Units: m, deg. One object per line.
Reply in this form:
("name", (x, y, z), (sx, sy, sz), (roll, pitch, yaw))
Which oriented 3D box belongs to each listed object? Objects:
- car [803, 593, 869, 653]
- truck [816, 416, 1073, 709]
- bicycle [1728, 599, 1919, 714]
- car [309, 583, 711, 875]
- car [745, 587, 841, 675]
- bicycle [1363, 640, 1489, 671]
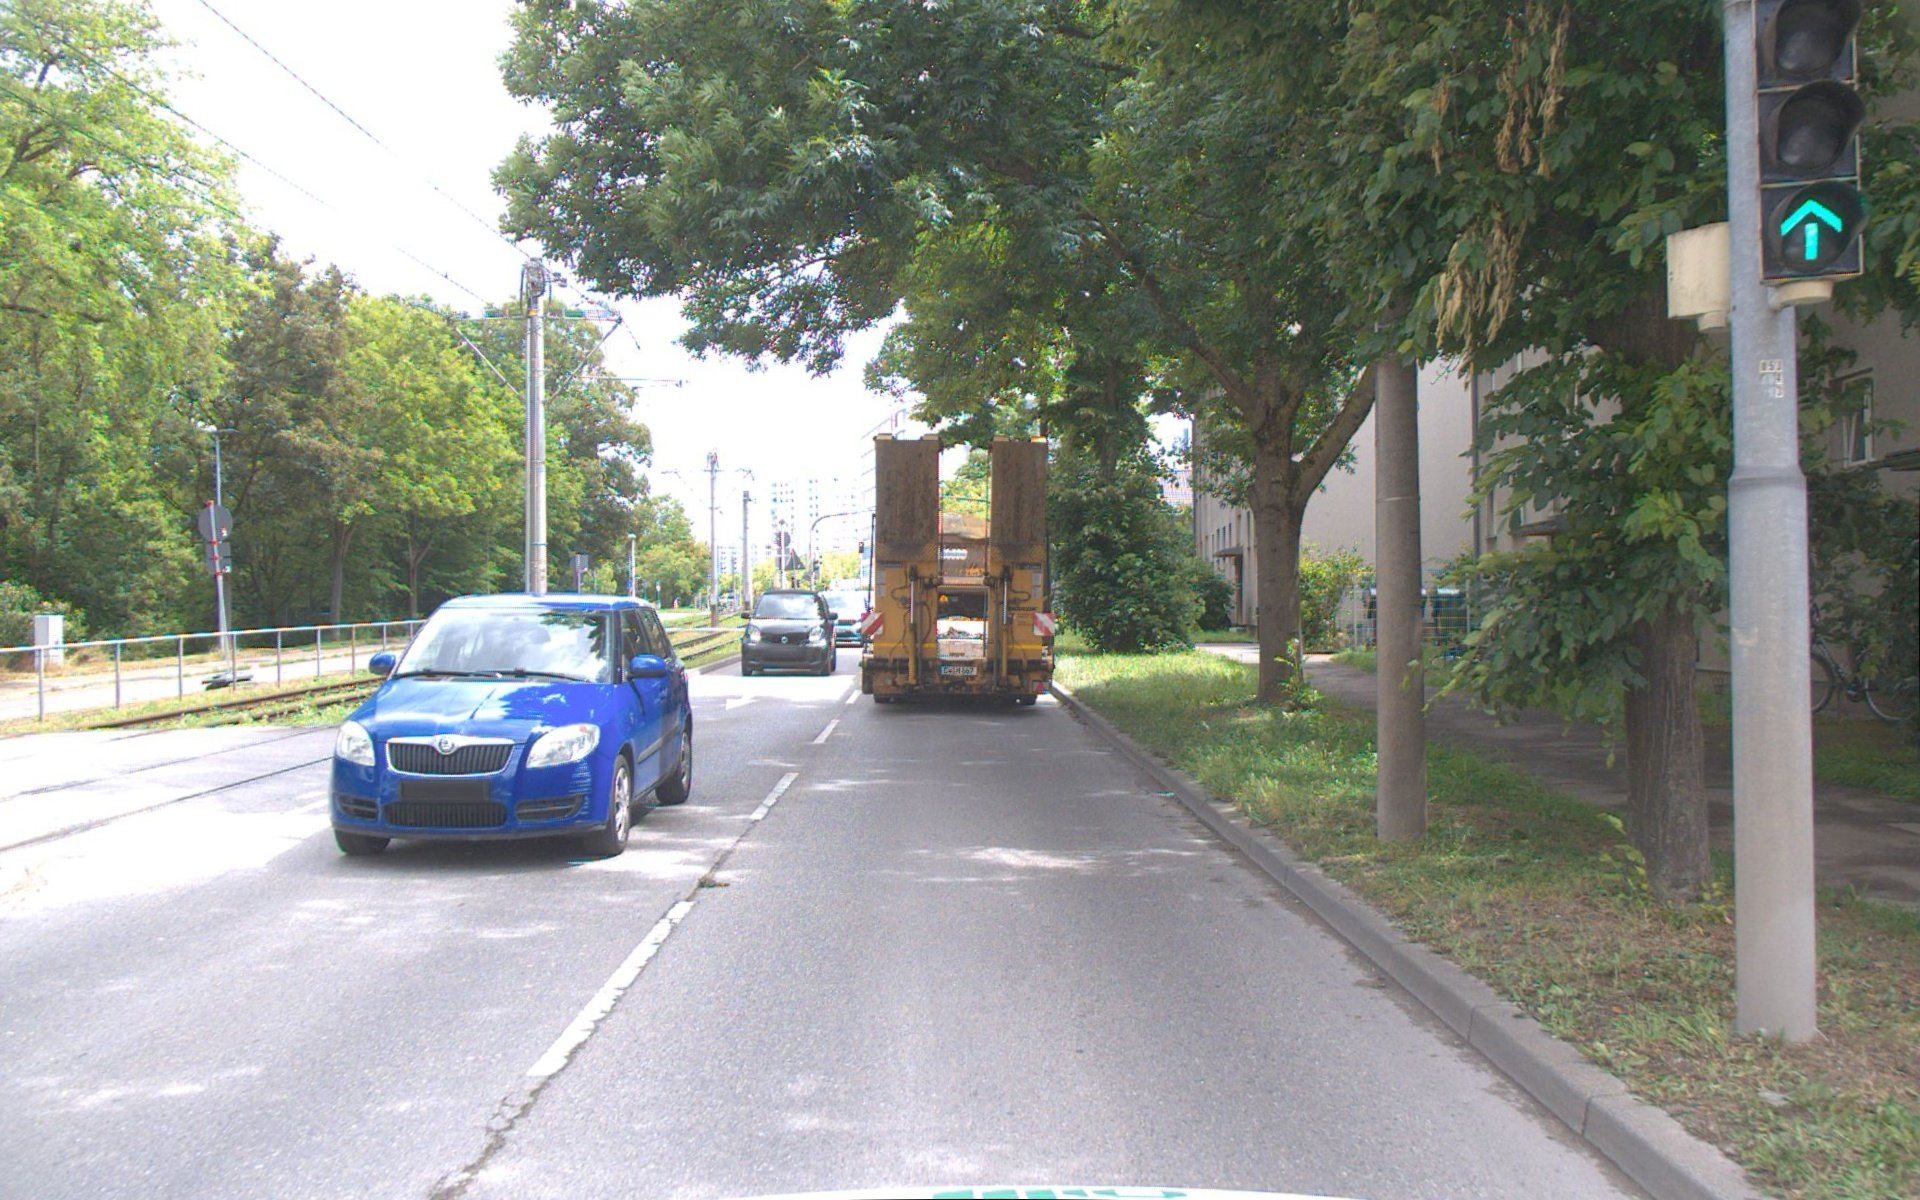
("car", (-3.509, 0.624, 47.385), (1.682, 1.571, 3.999), (1, 1, -2))
("truck", (-0.434, -0.413, 27.374), (3.249, 3.715, 12.555), (0, -1, -2))
("bicycle", (8.640, 0.540, 16.576), (0.432, 1.099, 1.732), (1, -1, -36))
("car", (-2.649, 0.669, 10.587), (1.549, 1.511, 3.806), (1, 0, -1))
("car", (-3.139, 0.545, 31.587), (1.604, 1.560, 3.274), (1, 0, -2))
("bicycle", (8.515, 1.010, 30.275), (2.157, 0.516, 0.674), (1, -1, 10))
